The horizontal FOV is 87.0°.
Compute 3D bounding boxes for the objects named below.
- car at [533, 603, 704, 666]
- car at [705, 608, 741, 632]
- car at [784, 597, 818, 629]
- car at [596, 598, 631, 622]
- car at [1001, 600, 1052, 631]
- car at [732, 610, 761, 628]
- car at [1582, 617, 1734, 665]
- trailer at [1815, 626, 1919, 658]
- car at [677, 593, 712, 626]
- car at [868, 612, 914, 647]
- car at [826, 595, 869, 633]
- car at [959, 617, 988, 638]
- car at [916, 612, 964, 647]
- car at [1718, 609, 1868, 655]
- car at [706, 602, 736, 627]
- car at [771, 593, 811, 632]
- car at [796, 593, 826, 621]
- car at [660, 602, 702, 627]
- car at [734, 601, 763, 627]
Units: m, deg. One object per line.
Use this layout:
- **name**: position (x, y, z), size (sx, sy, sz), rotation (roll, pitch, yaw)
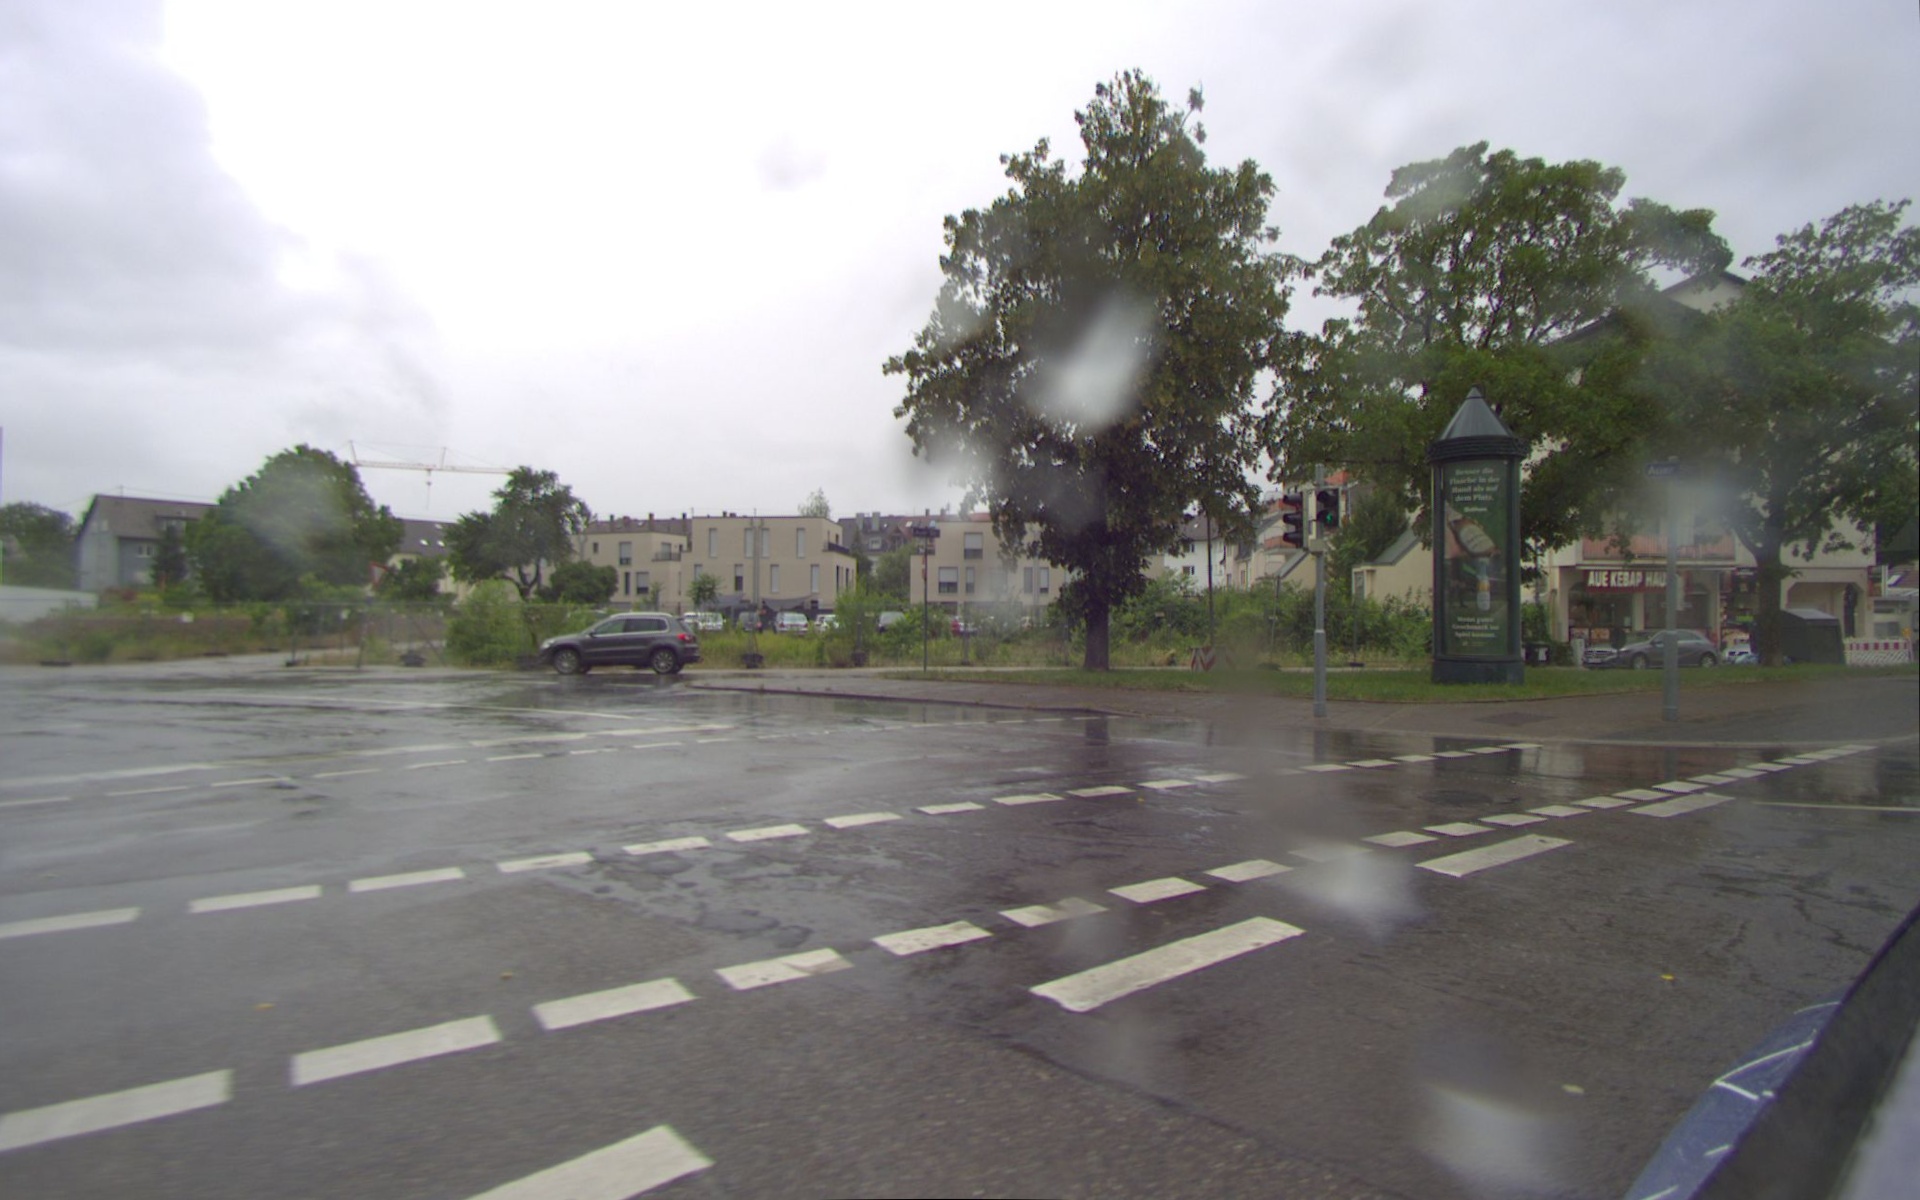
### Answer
- **car**: position (-9.381, 0.938, 28.081), size (4.217, 1.676, 1.862), rotation (0, -1, -7)
- **car**: position (-12.951, 1.087, 55.543), size (1.637, 1.282, 4.005), rotation (0, -1, -9)
- **car**: position (-10.357, 0.852, 65.765), size (1.958, 2.040, 4.006), rotation (0, -1, -12)
- **car**: position (-21.883, 0.652, 64.063), size (1.732, 1.427, 4.408), rotation (0, -1, -14)
- **car**: position (3.679, 0.877, 56.660), size (1.869, 1.705, 4.006), rotation (0, -1, -12)
- **car**: position (-13.792, 1.222, 65.452), size (1.732, 1.150, 4.407), rotation (0, -1, -12)
- **car**: position (22.607, 1.302, 32.823), size (4.070, 1.452, 1.706), rotation (0, -1, -13)
- **trailer**: position (39.442, 1.771, 43.552), size (1.793, 1.247, 4.525), rotation (0, -1, 6)
- **car**: position (-16.943, 0.615, 64.775), size (1.958, 2.040, 4.006), rotation (0, -1, -12)
- **car**: position (-3.895, 1.615, 56.563), size (1.958, 1.884, 4.006), rotation (0, -1, -12)
- **car**: position (-6.257, 0.783, 56.031), size (1.958, 2.040, 4.006), rotation (0, -1, -12)
- **car**: position (0.931, 1.833, 68.322), size (1.735, 1.360, 4.088), rotation (0, -1, 3)
- **car**: position (-1.162, 1.653, 57.073), size (1.958, 1.884, 4.006), rotation (0, -1, -12)
- **car**: position (27.577, 1.031, 33.539), size (4.089, 1.452, 1.642), rotation (0, -1, -13)
- **car**: position (-18.673, 1.134, 79.222), size (1.639, 1.938, 4.001), rotation (0, -1, -3)
- **car**: position (-9.193, 0.673, 54.887), size (1.958, 2.040, 4.006), rotation (0, -1, -12)
- **car**: position (-11.522, 0.565, 78.470), size (1.961, 2.040, 4.001), rotation (0, -1, -2)
- **car**: position (-21.838, 1.158, 79.382), size (1.964, 1.902, 3.994), rotation (0, -1, 4)
- **car**: position (-16.458, 1.120, 78.932), size (1.639, 1.938, 4.001), rotation (0, -1, -3)
